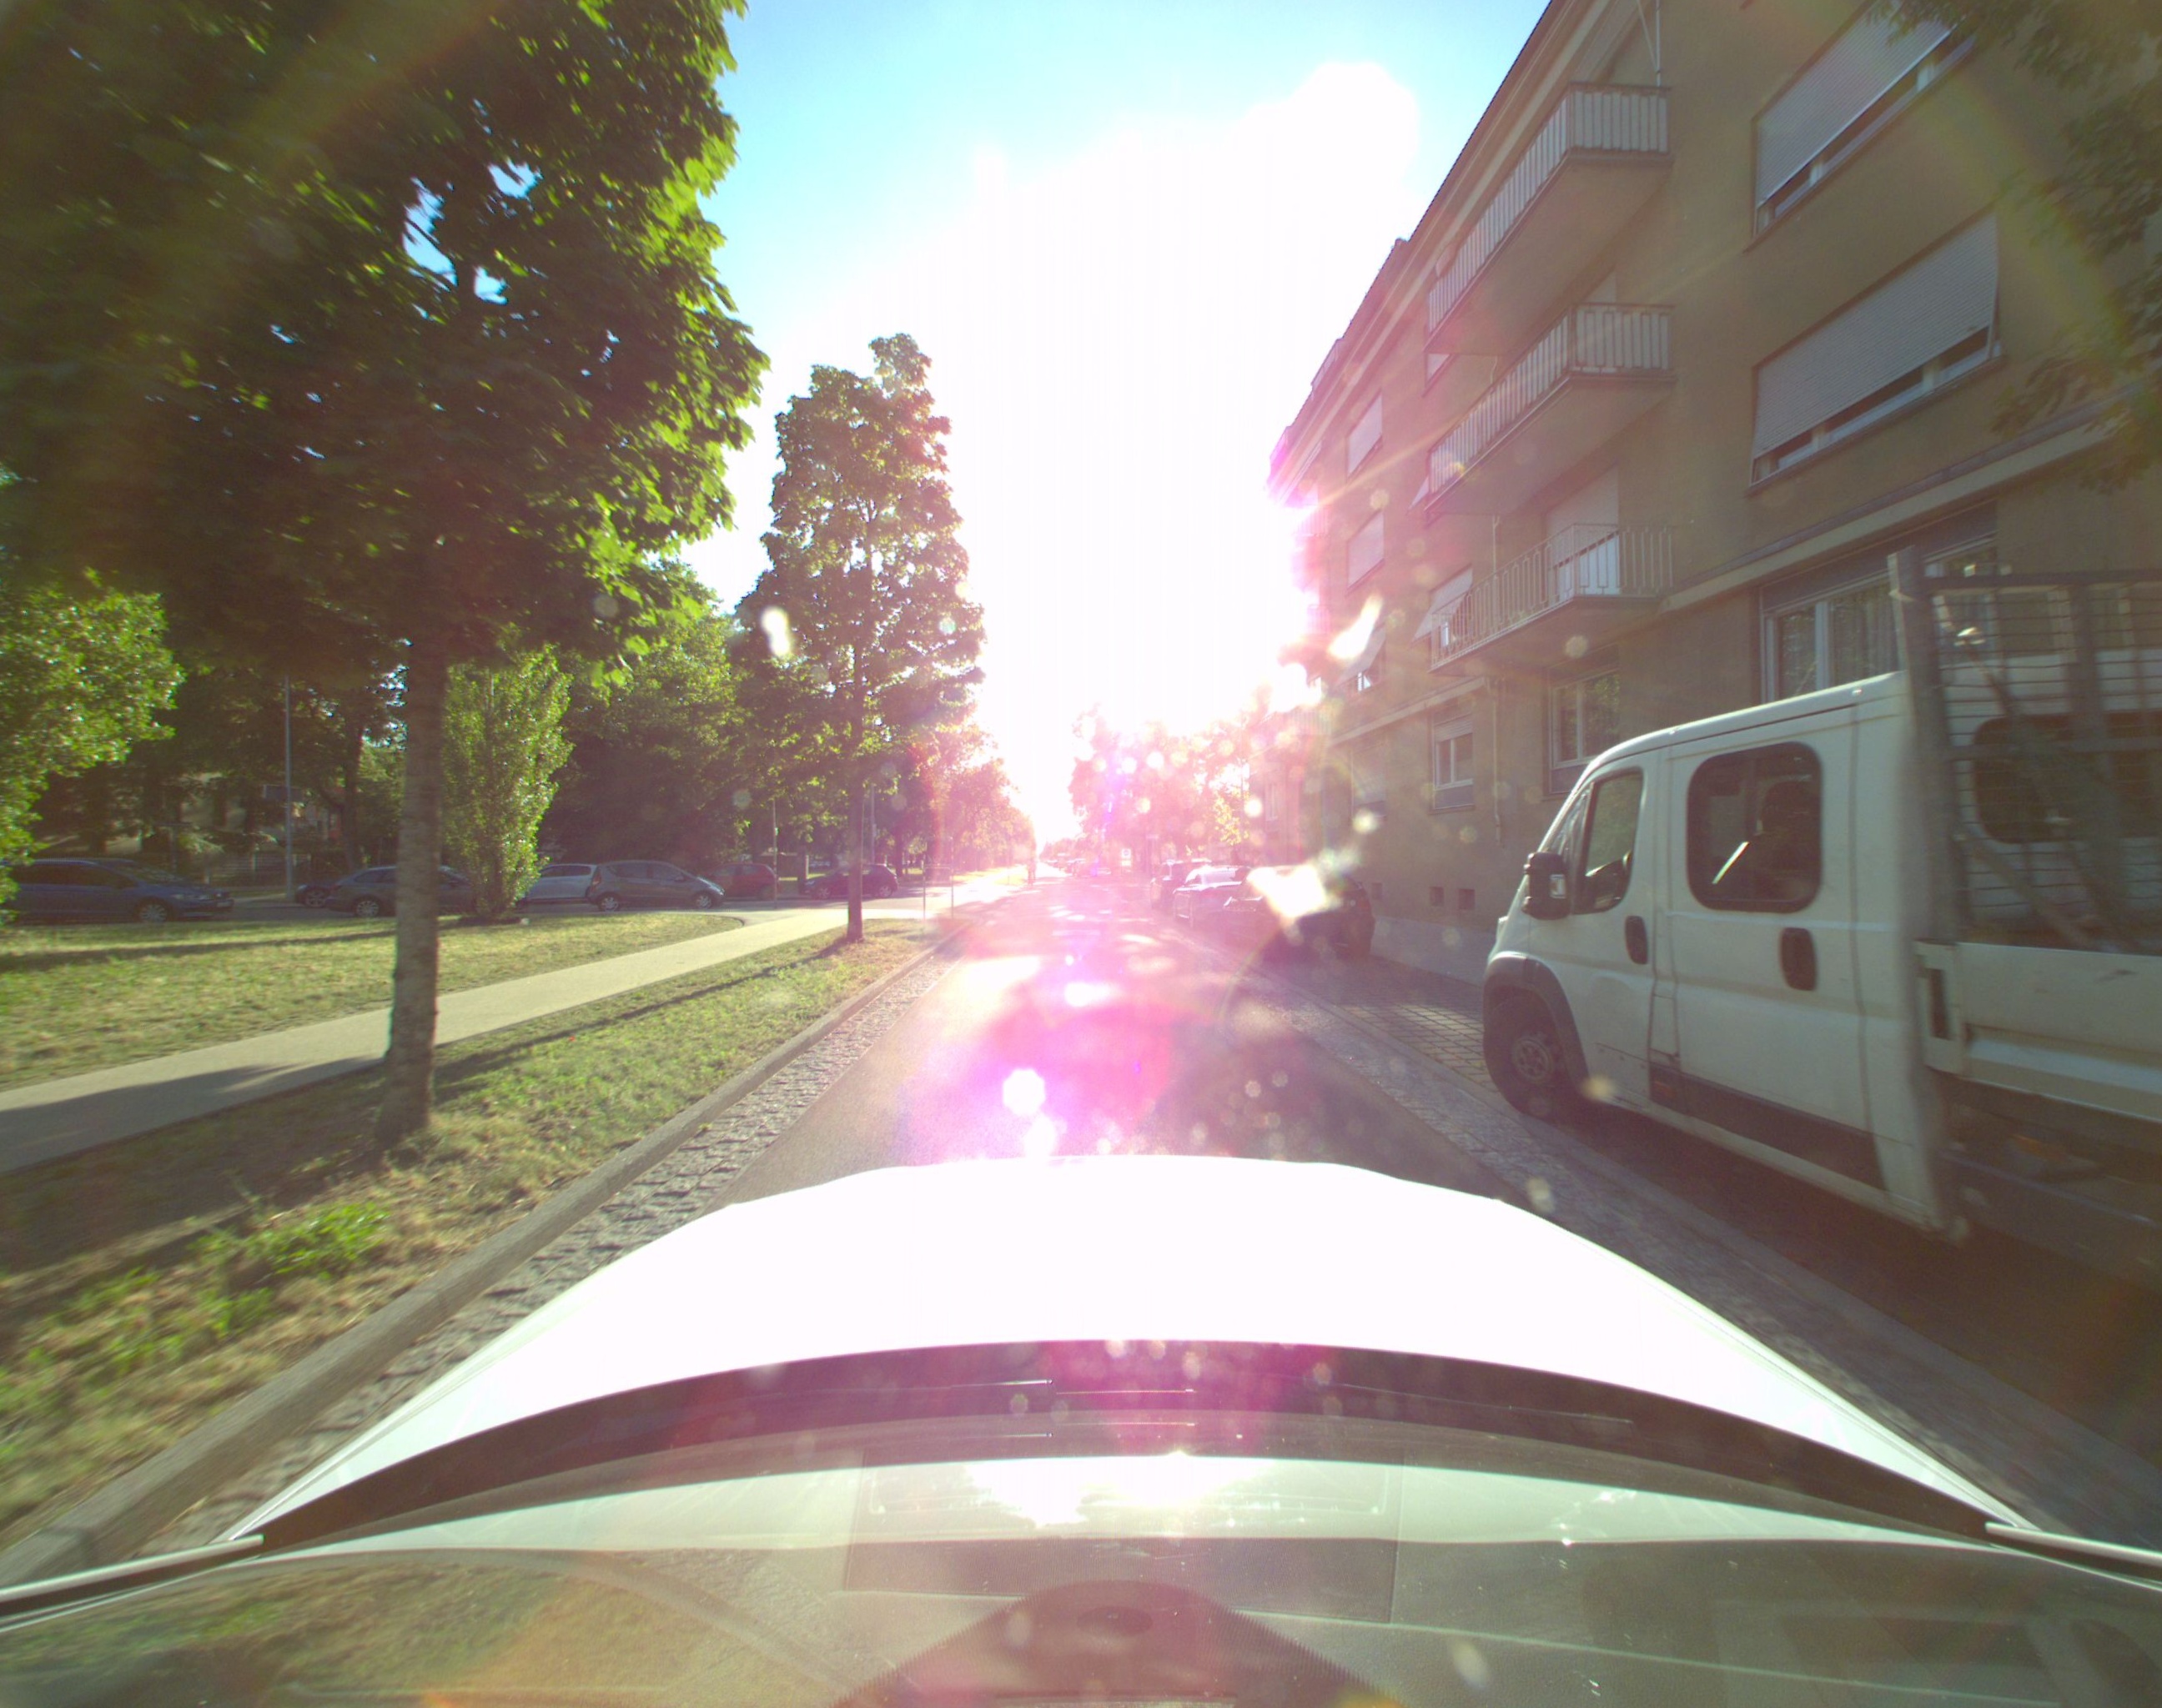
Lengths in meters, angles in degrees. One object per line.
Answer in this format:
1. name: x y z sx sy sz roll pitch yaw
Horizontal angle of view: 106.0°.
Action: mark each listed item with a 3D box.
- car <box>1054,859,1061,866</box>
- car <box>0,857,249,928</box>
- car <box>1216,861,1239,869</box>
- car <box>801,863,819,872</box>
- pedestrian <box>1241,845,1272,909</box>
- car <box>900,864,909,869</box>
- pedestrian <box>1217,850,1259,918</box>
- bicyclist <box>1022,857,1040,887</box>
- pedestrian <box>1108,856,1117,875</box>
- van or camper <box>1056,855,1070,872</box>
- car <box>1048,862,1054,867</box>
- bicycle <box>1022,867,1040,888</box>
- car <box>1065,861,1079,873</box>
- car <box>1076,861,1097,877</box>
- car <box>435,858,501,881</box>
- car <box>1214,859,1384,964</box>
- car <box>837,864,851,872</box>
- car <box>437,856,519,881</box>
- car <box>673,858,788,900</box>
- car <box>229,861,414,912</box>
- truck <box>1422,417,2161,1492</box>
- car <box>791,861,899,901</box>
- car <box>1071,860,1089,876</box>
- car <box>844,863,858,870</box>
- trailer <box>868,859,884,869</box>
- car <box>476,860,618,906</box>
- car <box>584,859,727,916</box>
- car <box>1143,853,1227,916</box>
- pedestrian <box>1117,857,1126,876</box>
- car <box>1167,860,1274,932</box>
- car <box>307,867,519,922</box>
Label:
1. car: -5.400 1.954 185.862 1.623 1.669 4.243 -1 -1 -4
2. car: -24.402 0.931 20.611 4.281 1.644 1.826 0 -1 -23
3. car: 28.010 2.110 155.705 3.951 1.552 1.619 -1 -1 24
4. car: -48.893 2.404 147.002 1.989 1.508 3.996 -1 -1 -2
5. pedestrian: 5.150 0.669 23.900 0.735 1.830 0.550 1 -1 -39
6. car: -53.408 3.820 246.975 1.989 1.508 4.111 -1 -1 -2
7. pedestrian: 4.182 0.797 21.746 0.950 1.769 0.777 1 -1 -4
8. bicyclist: -2.838 0.999 46.286 0.933 1.703 0.906 0 -1 3
9. pedestrian: 2.899 1.062 75.307 0.751 1.736 0.731 1 -1 -3
10. van or camper: -3.271 1.672 144.558 2.229 2.904 5.664 -1 -2 -4
11. car: -8.700 3.105 239.333 1.623 1.410 4.243 -1 -1 -4
12. bicycle: -2.832 1.327 46.234 0.735 1.135 2.106 0 -1 3
13. car: -1.250 1.823 113.465 1.728 1.551 4.415 -1 -1 -4
14. car: 0.540 1.423 77.973 1.675 1.486 4.803 -1 -1 -3
15. car: -43.836 1.080 58.328 1.989 1.618 3.734 0 -1 -3
16. car: 3.442 0.857 13.645 1.698 1.420 4.034 -3 -1 -1
17. car: -48.905 2.864 168.074 1.989 1.508 4.111 -1 -1 -2
18. car: -52.084 1.269 70.501 4.947 2.114 2.672 0 -1 -7
19. car: -13.740 0.989 31.918 4.010 1.574 1.873 1 -3 -28
20. car: -24.889 1.051 26.889 4.004 1.574 1.876 0 -3 -24
21. truck: 3.631 0.245 2.592 2.122 2.564 6.873 -1 -1 -1
22. car: -9.771 1.113 33.690 4.010 1.574 1.873 1 -3 -28
23. car: -0.128 1.544 91.849 1.675 1.740 4.507 -1 -1 -4
24. car: -50.058 2.710 177.019 1.989 1.508 4.111 -1 -1 -2
25. trailer: -50.995 2.536 203.000 2.453 2.489 7.042 -1 -1 -2
26. car: -19.163 1.051 29.471 4.005 1.574 1.875 0 -3 -24
27. car: -13.296 1.008 25.631 3.855 1.631 1.823 0 -1 -27
28. car: 3.011 0.840 24.380 1.699 1.625 4.343 -3 0 -3
29. pedestrian: 3.737 1.116 75.385 0.723 1.736 0.731 1 -1 -3
30. car: 3.127 0.915 19.089 1.698 1.420 4.347 -3 -1 0
31. car: -18.679 1.084 23.052 4.284 1.401 1.824 0 -1 -26
